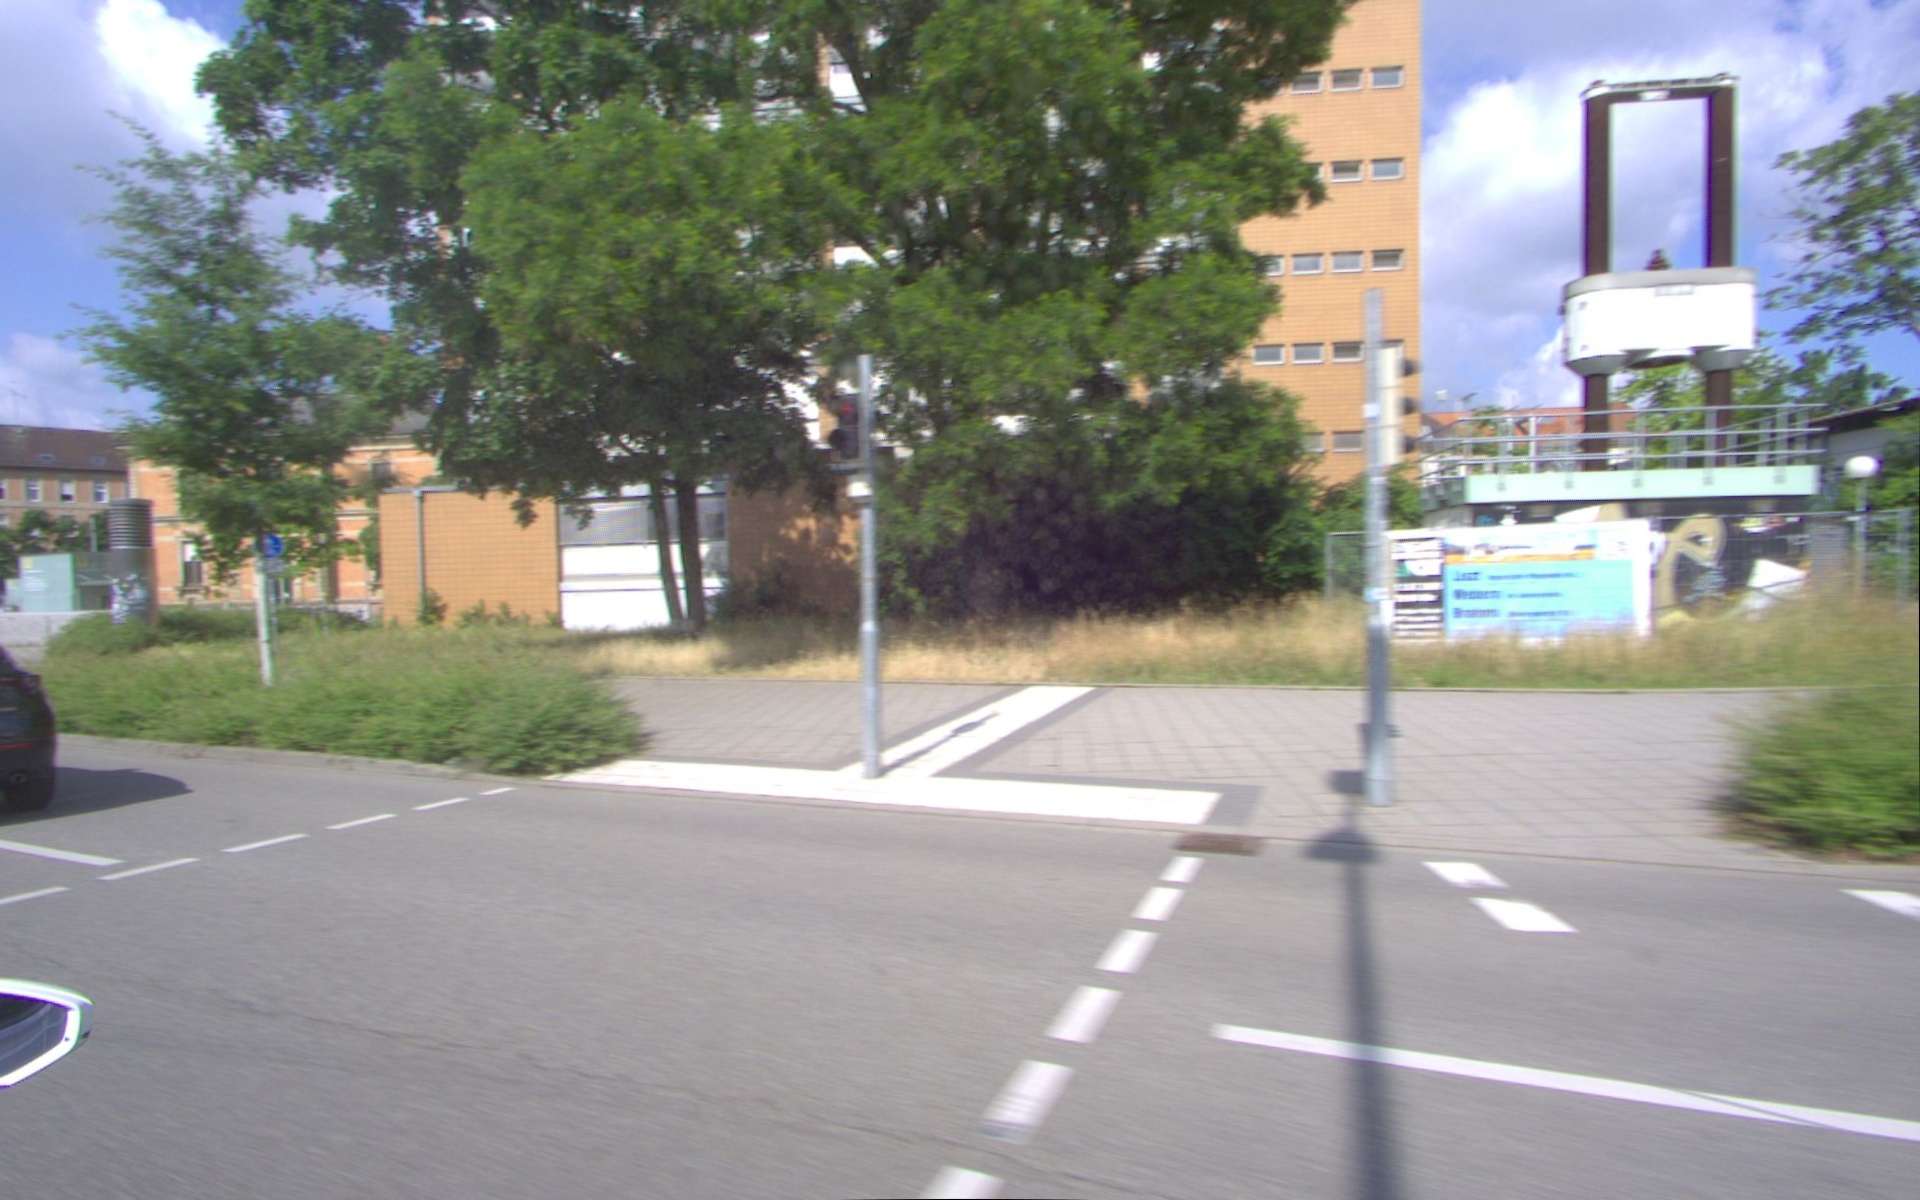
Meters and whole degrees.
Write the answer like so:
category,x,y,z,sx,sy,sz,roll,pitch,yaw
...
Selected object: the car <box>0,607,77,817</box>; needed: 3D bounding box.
category,x,y,z,sx,sy,sz,roll,pitch,yaw
car,-8.971,0.871,8.071,4.148,1.528,1.801,-2,0,34
